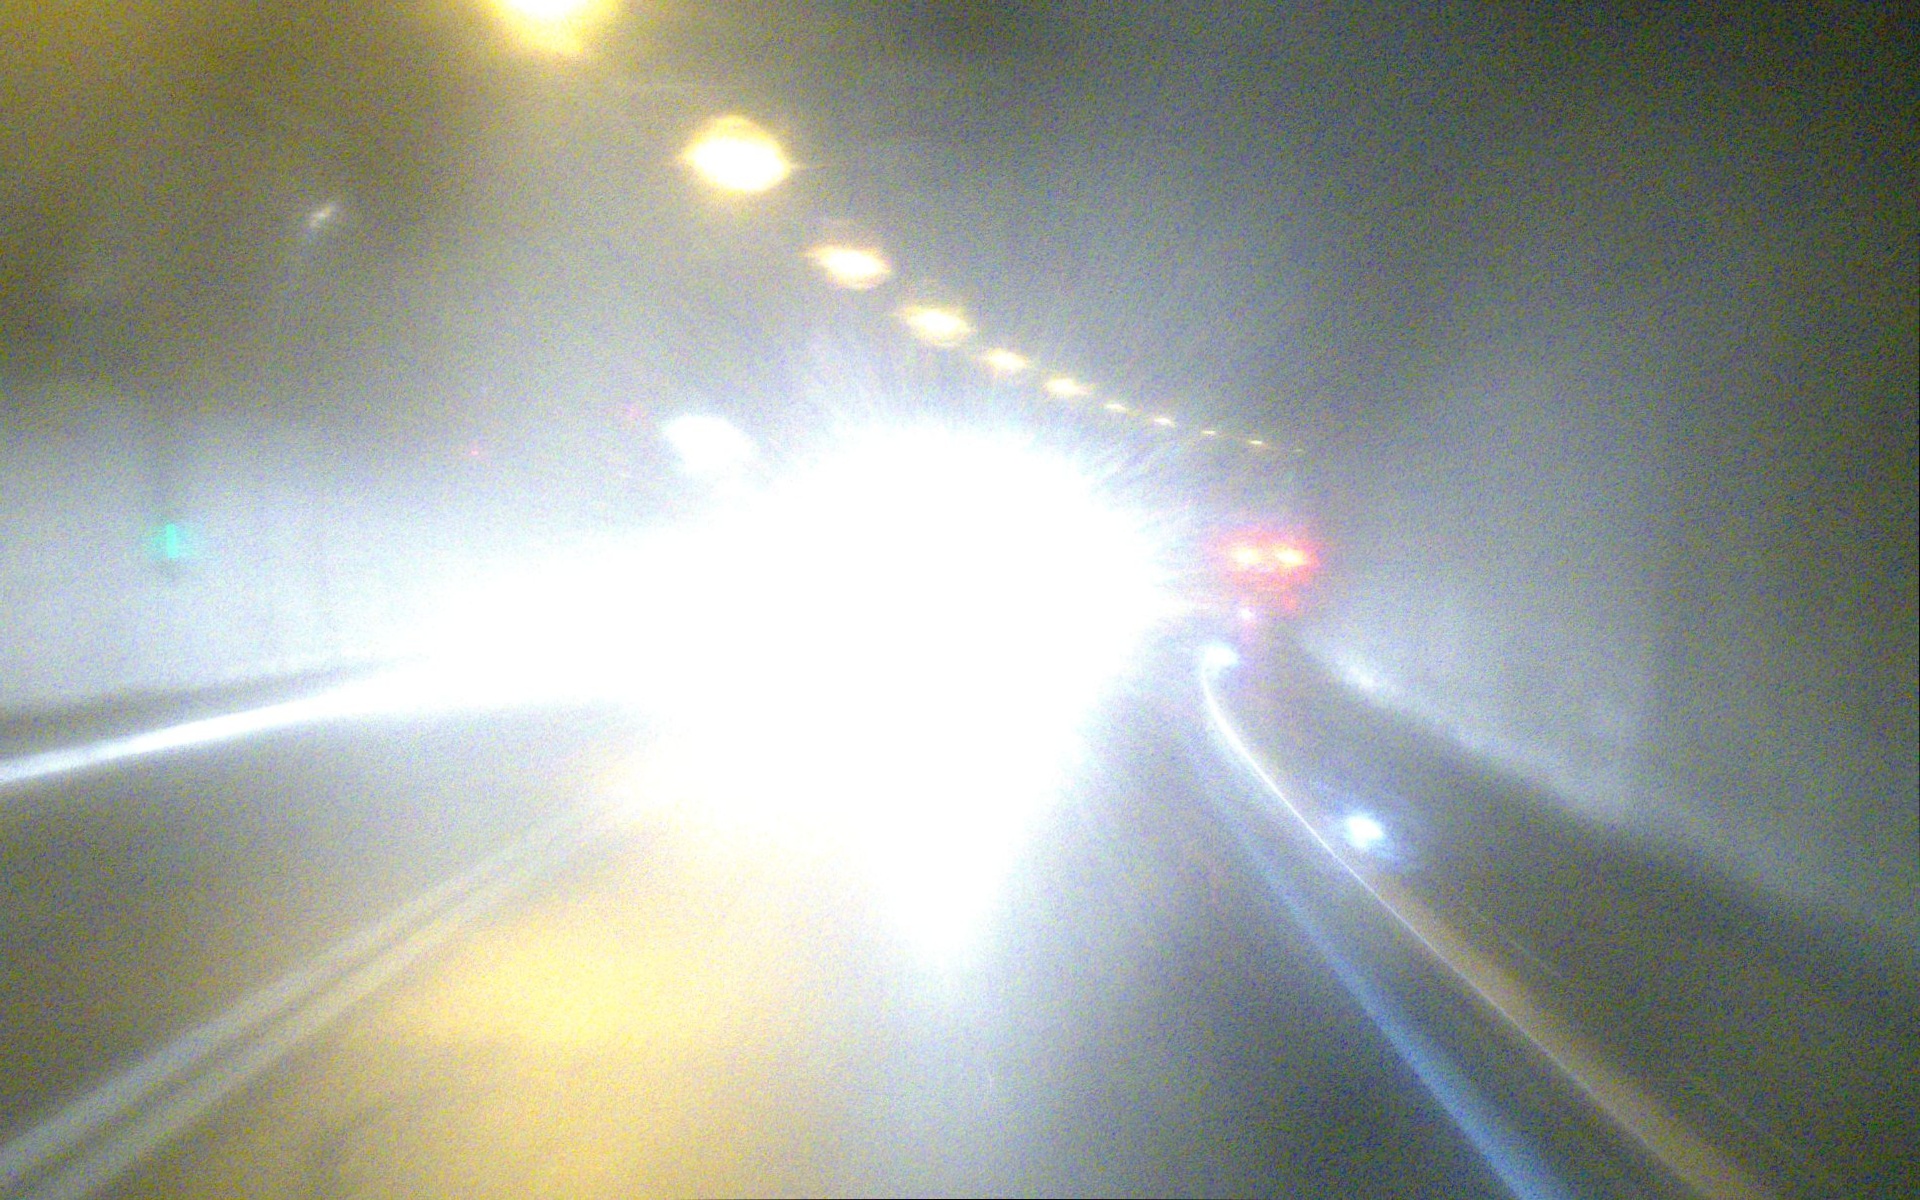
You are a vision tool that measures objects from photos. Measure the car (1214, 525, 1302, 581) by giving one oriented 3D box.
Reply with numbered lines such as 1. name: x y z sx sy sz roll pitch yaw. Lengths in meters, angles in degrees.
1. car: 9.003 -1.430 103.534 1.995 1.645 3.998 0 1 14

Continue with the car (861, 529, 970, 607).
1. car: -0.798 -0.623 64.373 1.713 1.373 4.585 0 1 3
